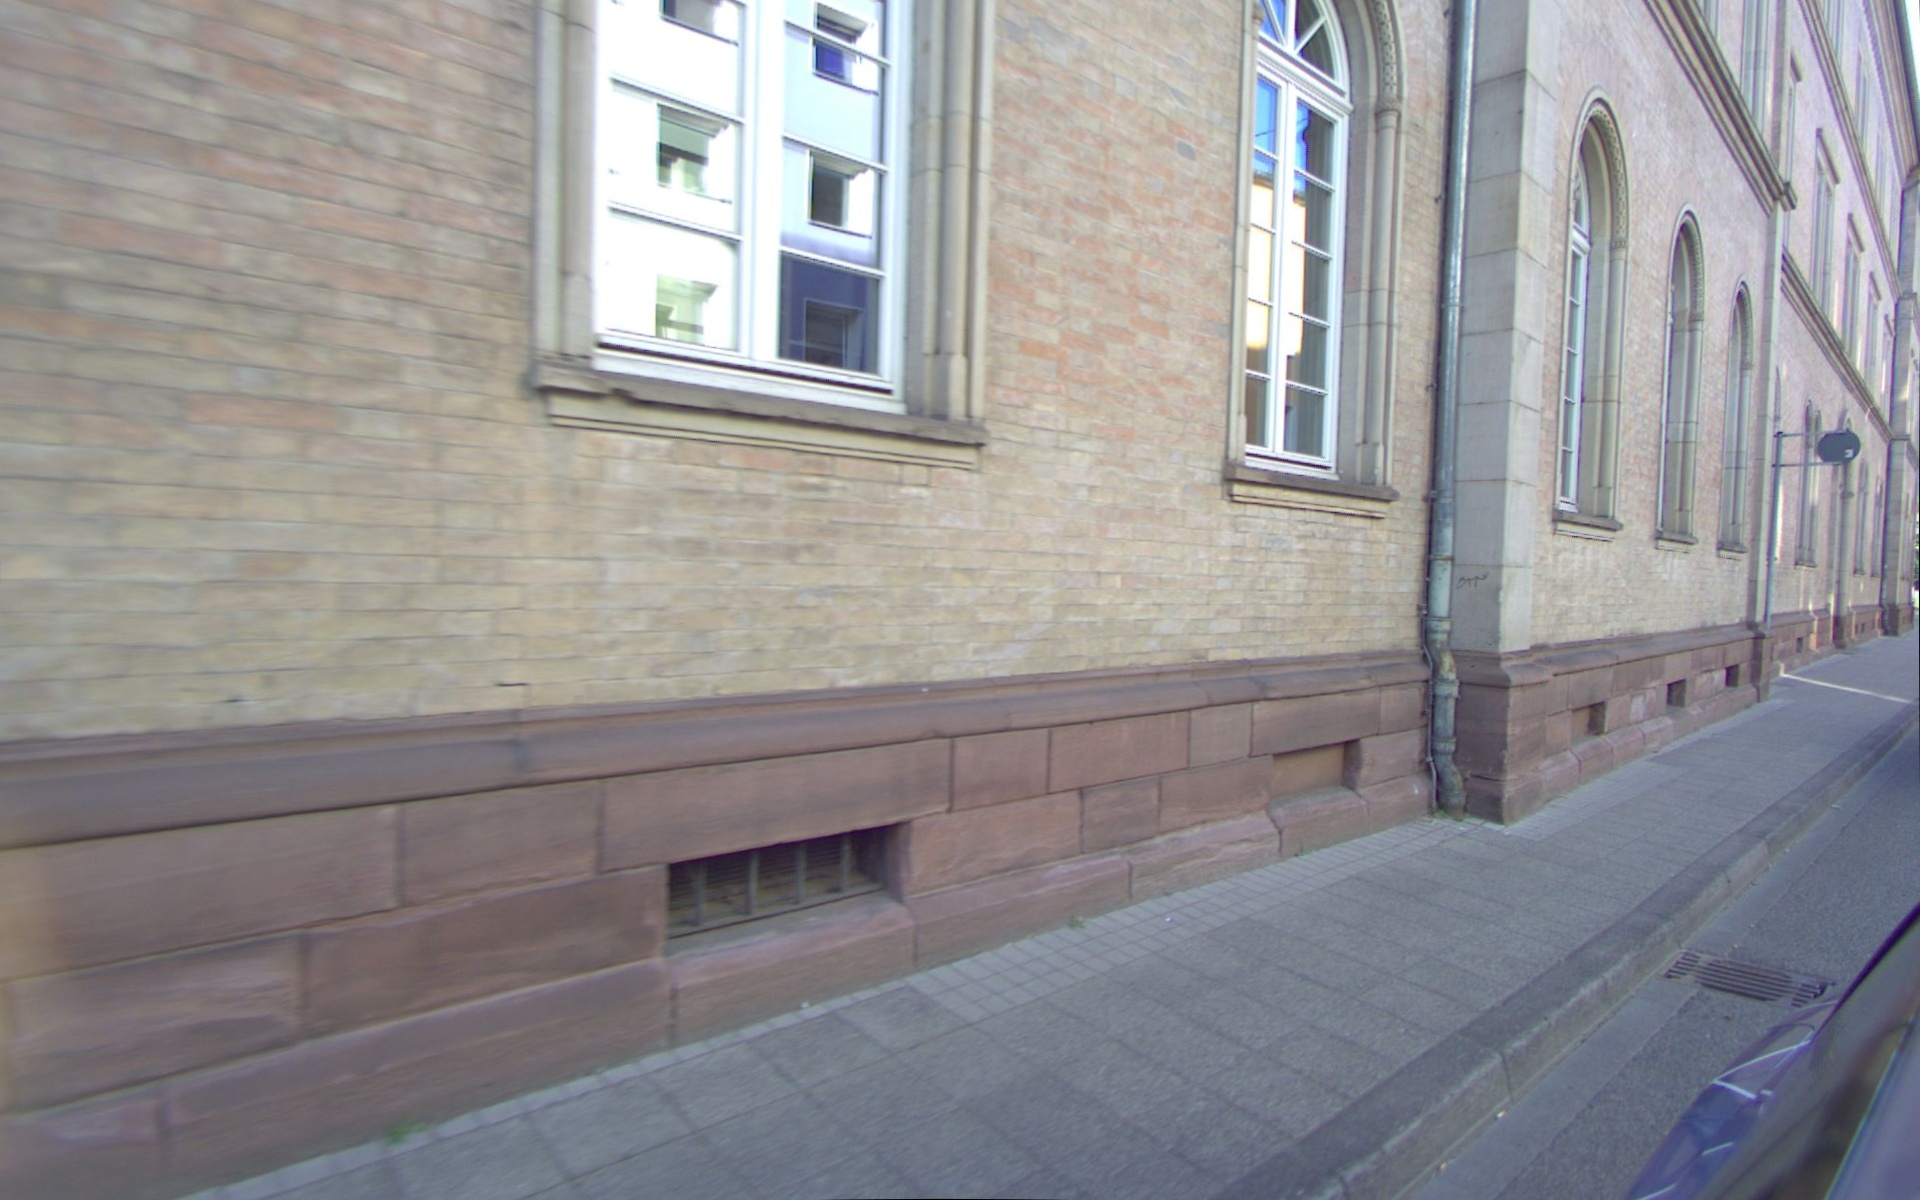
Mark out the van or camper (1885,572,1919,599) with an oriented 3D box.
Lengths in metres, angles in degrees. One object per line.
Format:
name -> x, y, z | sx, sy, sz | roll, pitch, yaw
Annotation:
van or camper -> 76.938, -1.198, 82.050 | 2.149, 2.038, 4.915 | 3, 3, 35
